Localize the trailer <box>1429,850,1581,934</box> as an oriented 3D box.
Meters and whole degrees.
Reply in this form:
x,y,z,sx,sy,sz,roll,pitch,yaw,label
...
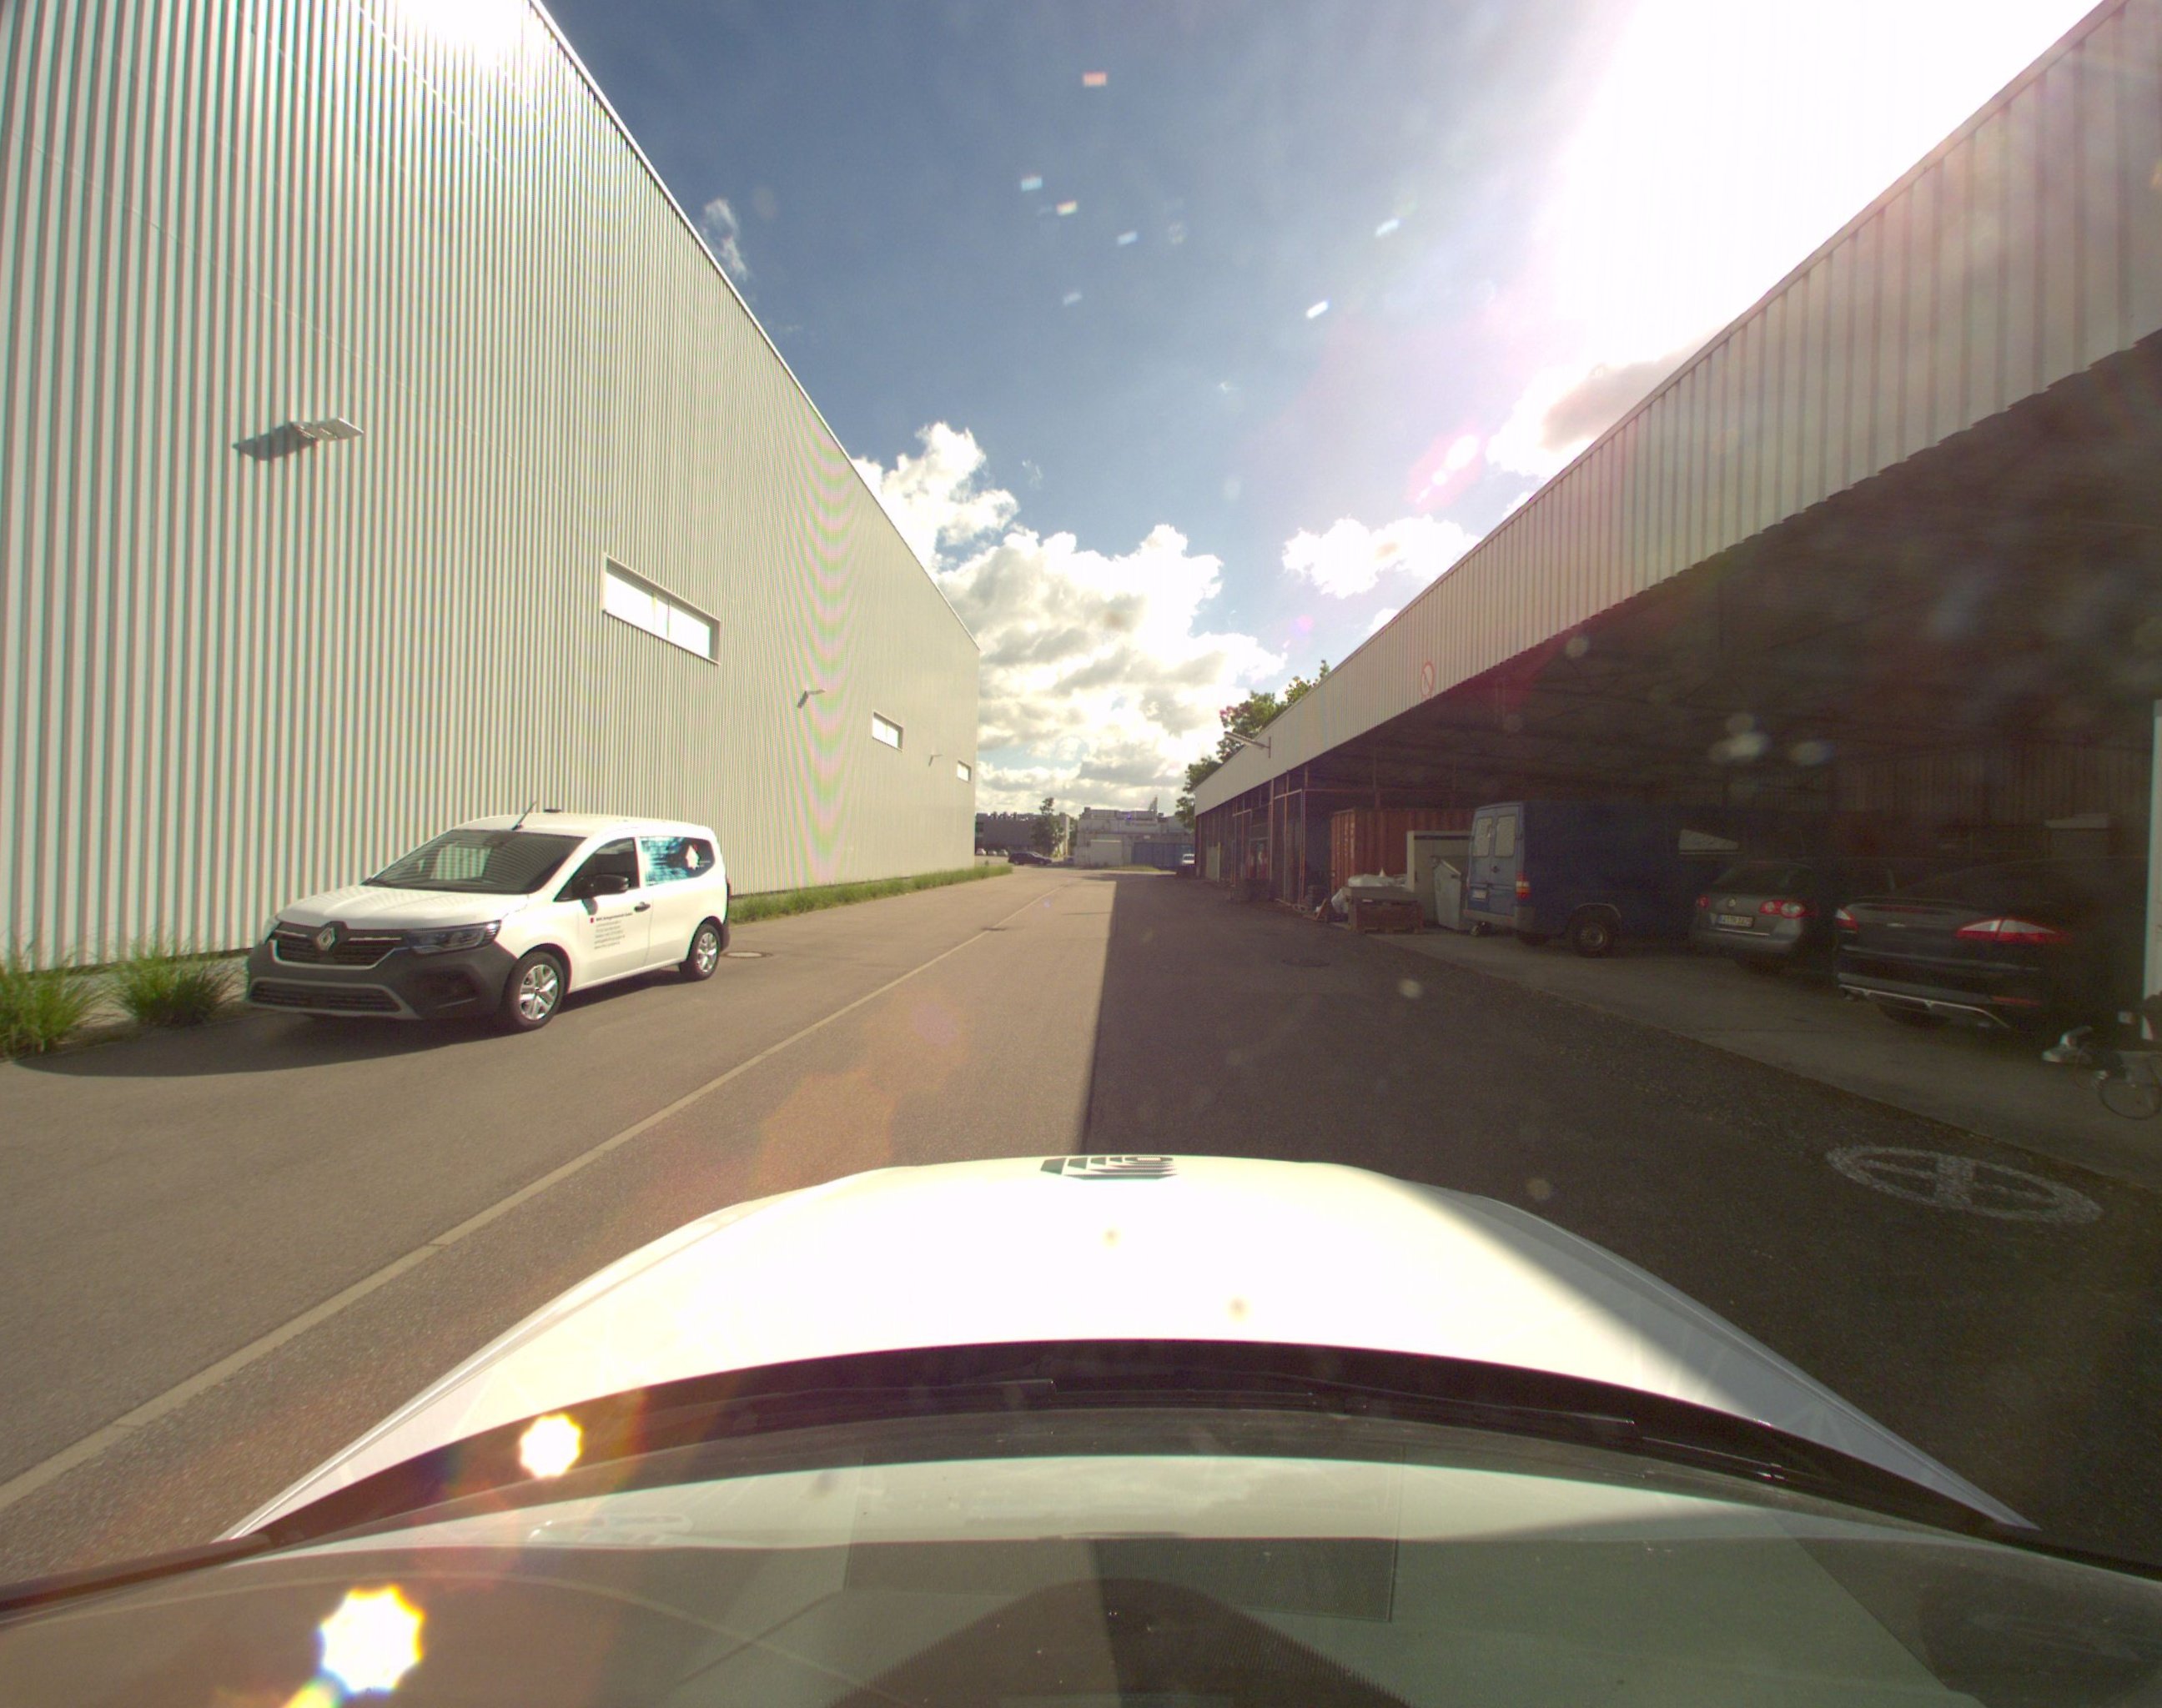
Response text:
x,y,z,sx,sy,sz,roll,pitch,yaw,label
7.878,0.686,15.303,2.084,1.462,1.644,0,-1,5,trailer

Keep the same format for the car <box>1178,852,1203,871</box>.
x,y,z,sx,sy,sz,roll,pitch,yaw,label
10.326,0.676,77.103,1.973,1.593,4.343,2,1,2,car

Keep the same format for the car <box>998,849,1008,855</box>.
x,y,z,sx,sy,sz,roll,pitch,yaw,label
-17.903,-0.435,187.675,1.871,1.537,4.035,0,0,0,car

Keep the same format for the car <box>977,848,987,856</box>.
x,y,z,sx,sy,sz,roll,pitch,yaw,label
-22.781,-0.474,187.749,1.871,1.689,4.035,0,0,0,car

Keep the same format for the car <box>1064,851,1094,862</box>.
x,y,z,sx,sy,sz,roll,pitch,yaw,label
-0.246,0.372,117.802,4.262,1.569,1.988,1,-2,2,car

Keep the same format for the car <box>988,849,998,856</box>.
x,y,z,sx,sy,sz,roll,pitch,yaw,label
-20.231,-0.418,187.522,1.871,1.537,4.035,0,0,0,car

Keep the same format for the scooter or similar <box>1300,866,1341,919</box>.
x,y,z,sx,sy,sz,roll,pitch,yaw,label
5.429,0.850,18.556,0.518,1.134,1.593,0,-1,2,scooter or similar

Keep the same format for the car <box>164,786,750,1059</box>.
x,y,z,sx,sy,sz,roll,pitch,yaw,label
-5.246,0.460,7.909,1.921,1.790,4.601,3,0,3,car

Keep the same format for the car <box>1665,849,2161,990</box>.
x,y,z,sx,sy,sz,roll,pitch,yaw,label
9.486,0.689,9.445,4.091,1.454,1.851,0,0,2,car

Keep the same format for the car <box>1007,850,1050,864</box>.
x,y,z,sx,sy,sz,roll,pitch,yaw,label
-5.744,0.363,90.191,4.511,1.443,1.988,1,-2,2,car

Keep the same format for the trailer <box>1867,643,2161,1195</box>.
x,y,z,sx,sy,sz,roll,pitch,yaw,label
6.858,0.259,3.866,4.523,2.335,1.690,0,0,3,trailer

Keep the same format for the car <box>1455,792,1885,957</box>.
x,y,z,sx,sy,sz,roll,pitch,yaw,label
8.879,0.292,12.668,5.197,2.297,2.085,1,0,1,car

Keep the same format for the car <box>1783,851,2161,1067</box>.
x,y,z,sx,sy,sz,roll,pitch,yaw,label
8.469,0.691,6.415,4.331,1.433,1.864,0,0,-1,car
